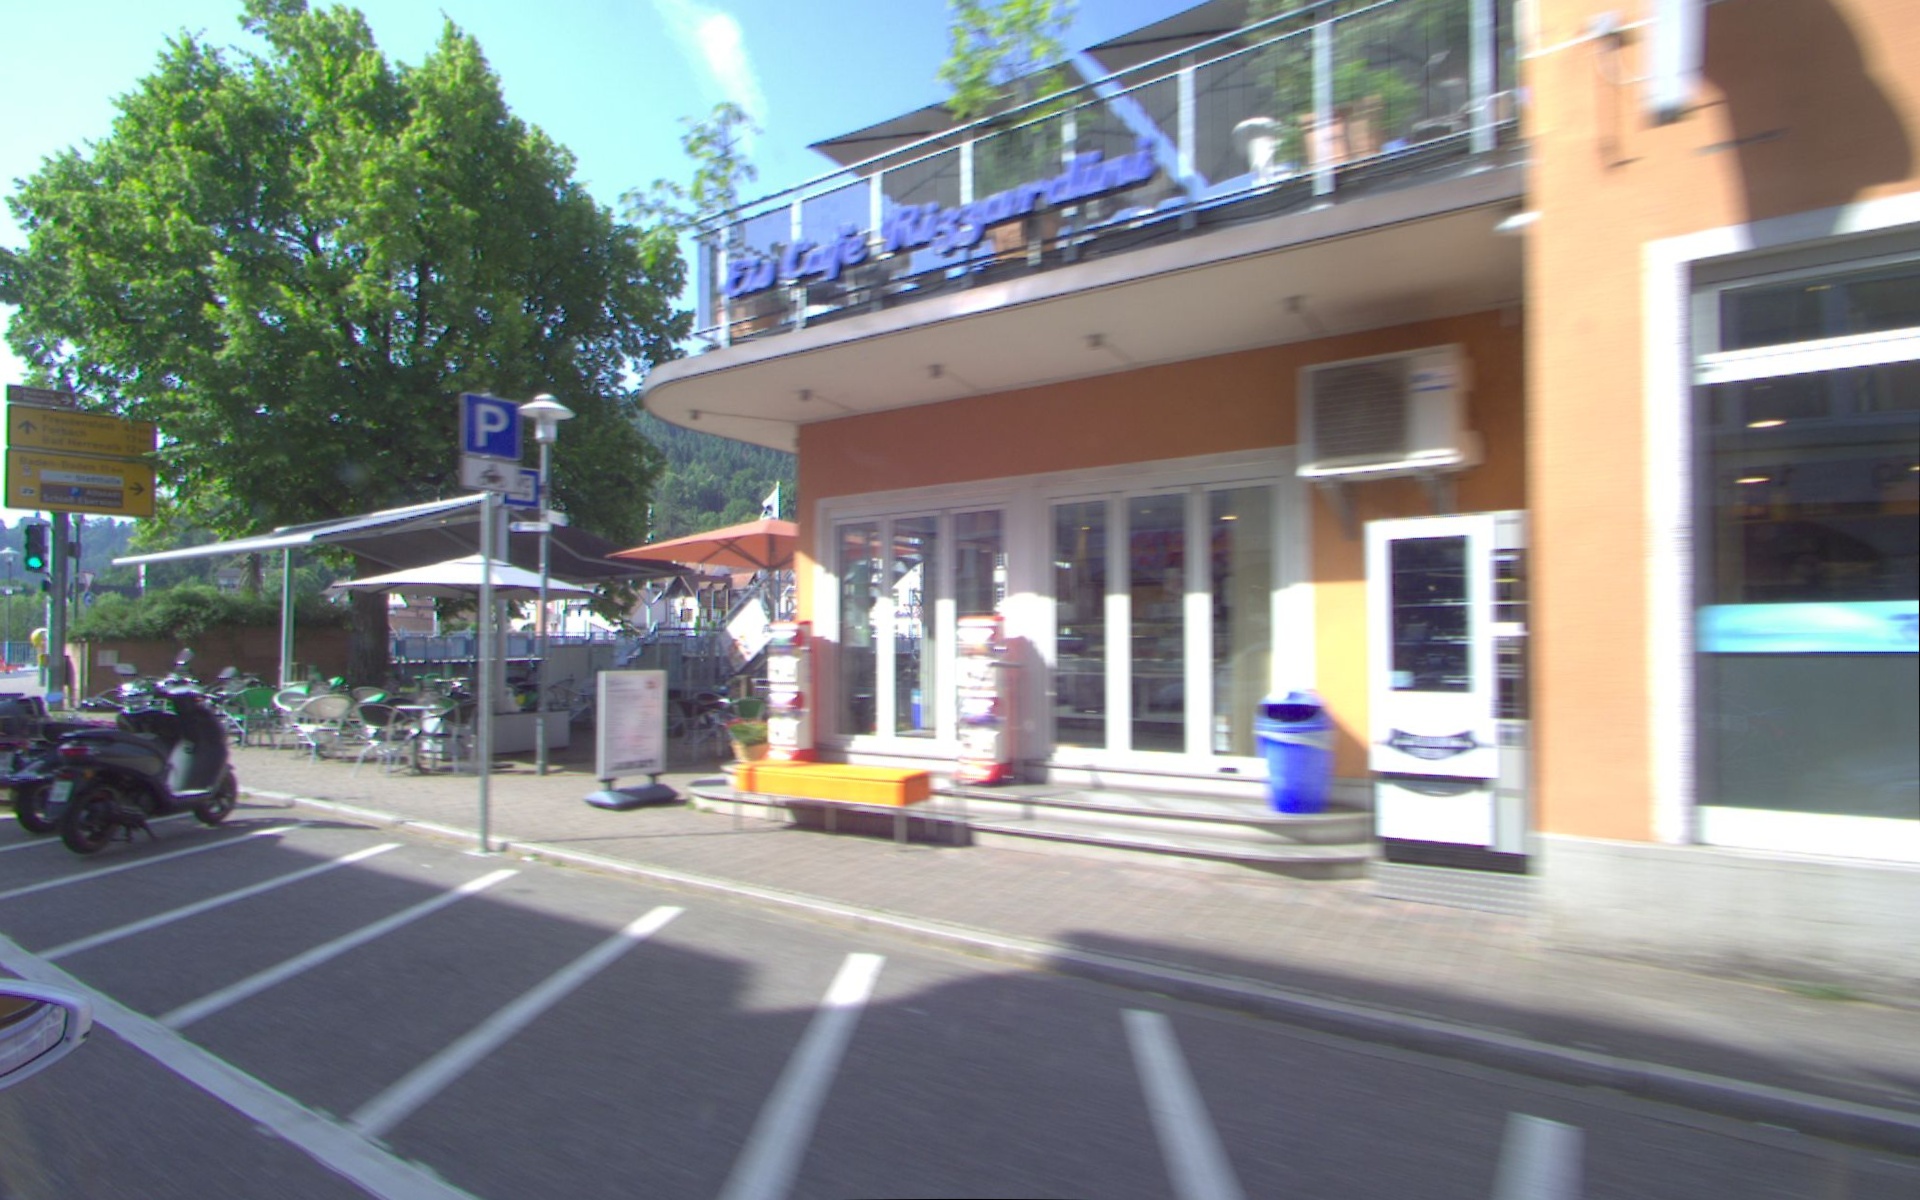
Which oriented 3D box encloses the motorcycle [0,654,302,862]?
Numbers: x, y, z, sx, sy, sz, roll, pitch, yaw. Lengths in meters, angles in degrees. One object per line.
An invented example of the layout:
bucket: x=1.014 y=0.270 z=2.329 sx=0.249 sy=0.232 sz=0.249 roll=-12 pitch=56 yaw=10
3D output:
motorcycle: x=-5.967 y=1.068 z=7.454 sx=0.911 sy=1.286 sz=2.091 roll=0 pitch=-2 yaw=-6

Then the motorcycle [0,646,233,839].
motorcycle: x=-7.103 y=1.078 z=8.207 sx=0.899 sy=1.375 sz=1.901 roll=0 pitch=-2 yaw=-1
